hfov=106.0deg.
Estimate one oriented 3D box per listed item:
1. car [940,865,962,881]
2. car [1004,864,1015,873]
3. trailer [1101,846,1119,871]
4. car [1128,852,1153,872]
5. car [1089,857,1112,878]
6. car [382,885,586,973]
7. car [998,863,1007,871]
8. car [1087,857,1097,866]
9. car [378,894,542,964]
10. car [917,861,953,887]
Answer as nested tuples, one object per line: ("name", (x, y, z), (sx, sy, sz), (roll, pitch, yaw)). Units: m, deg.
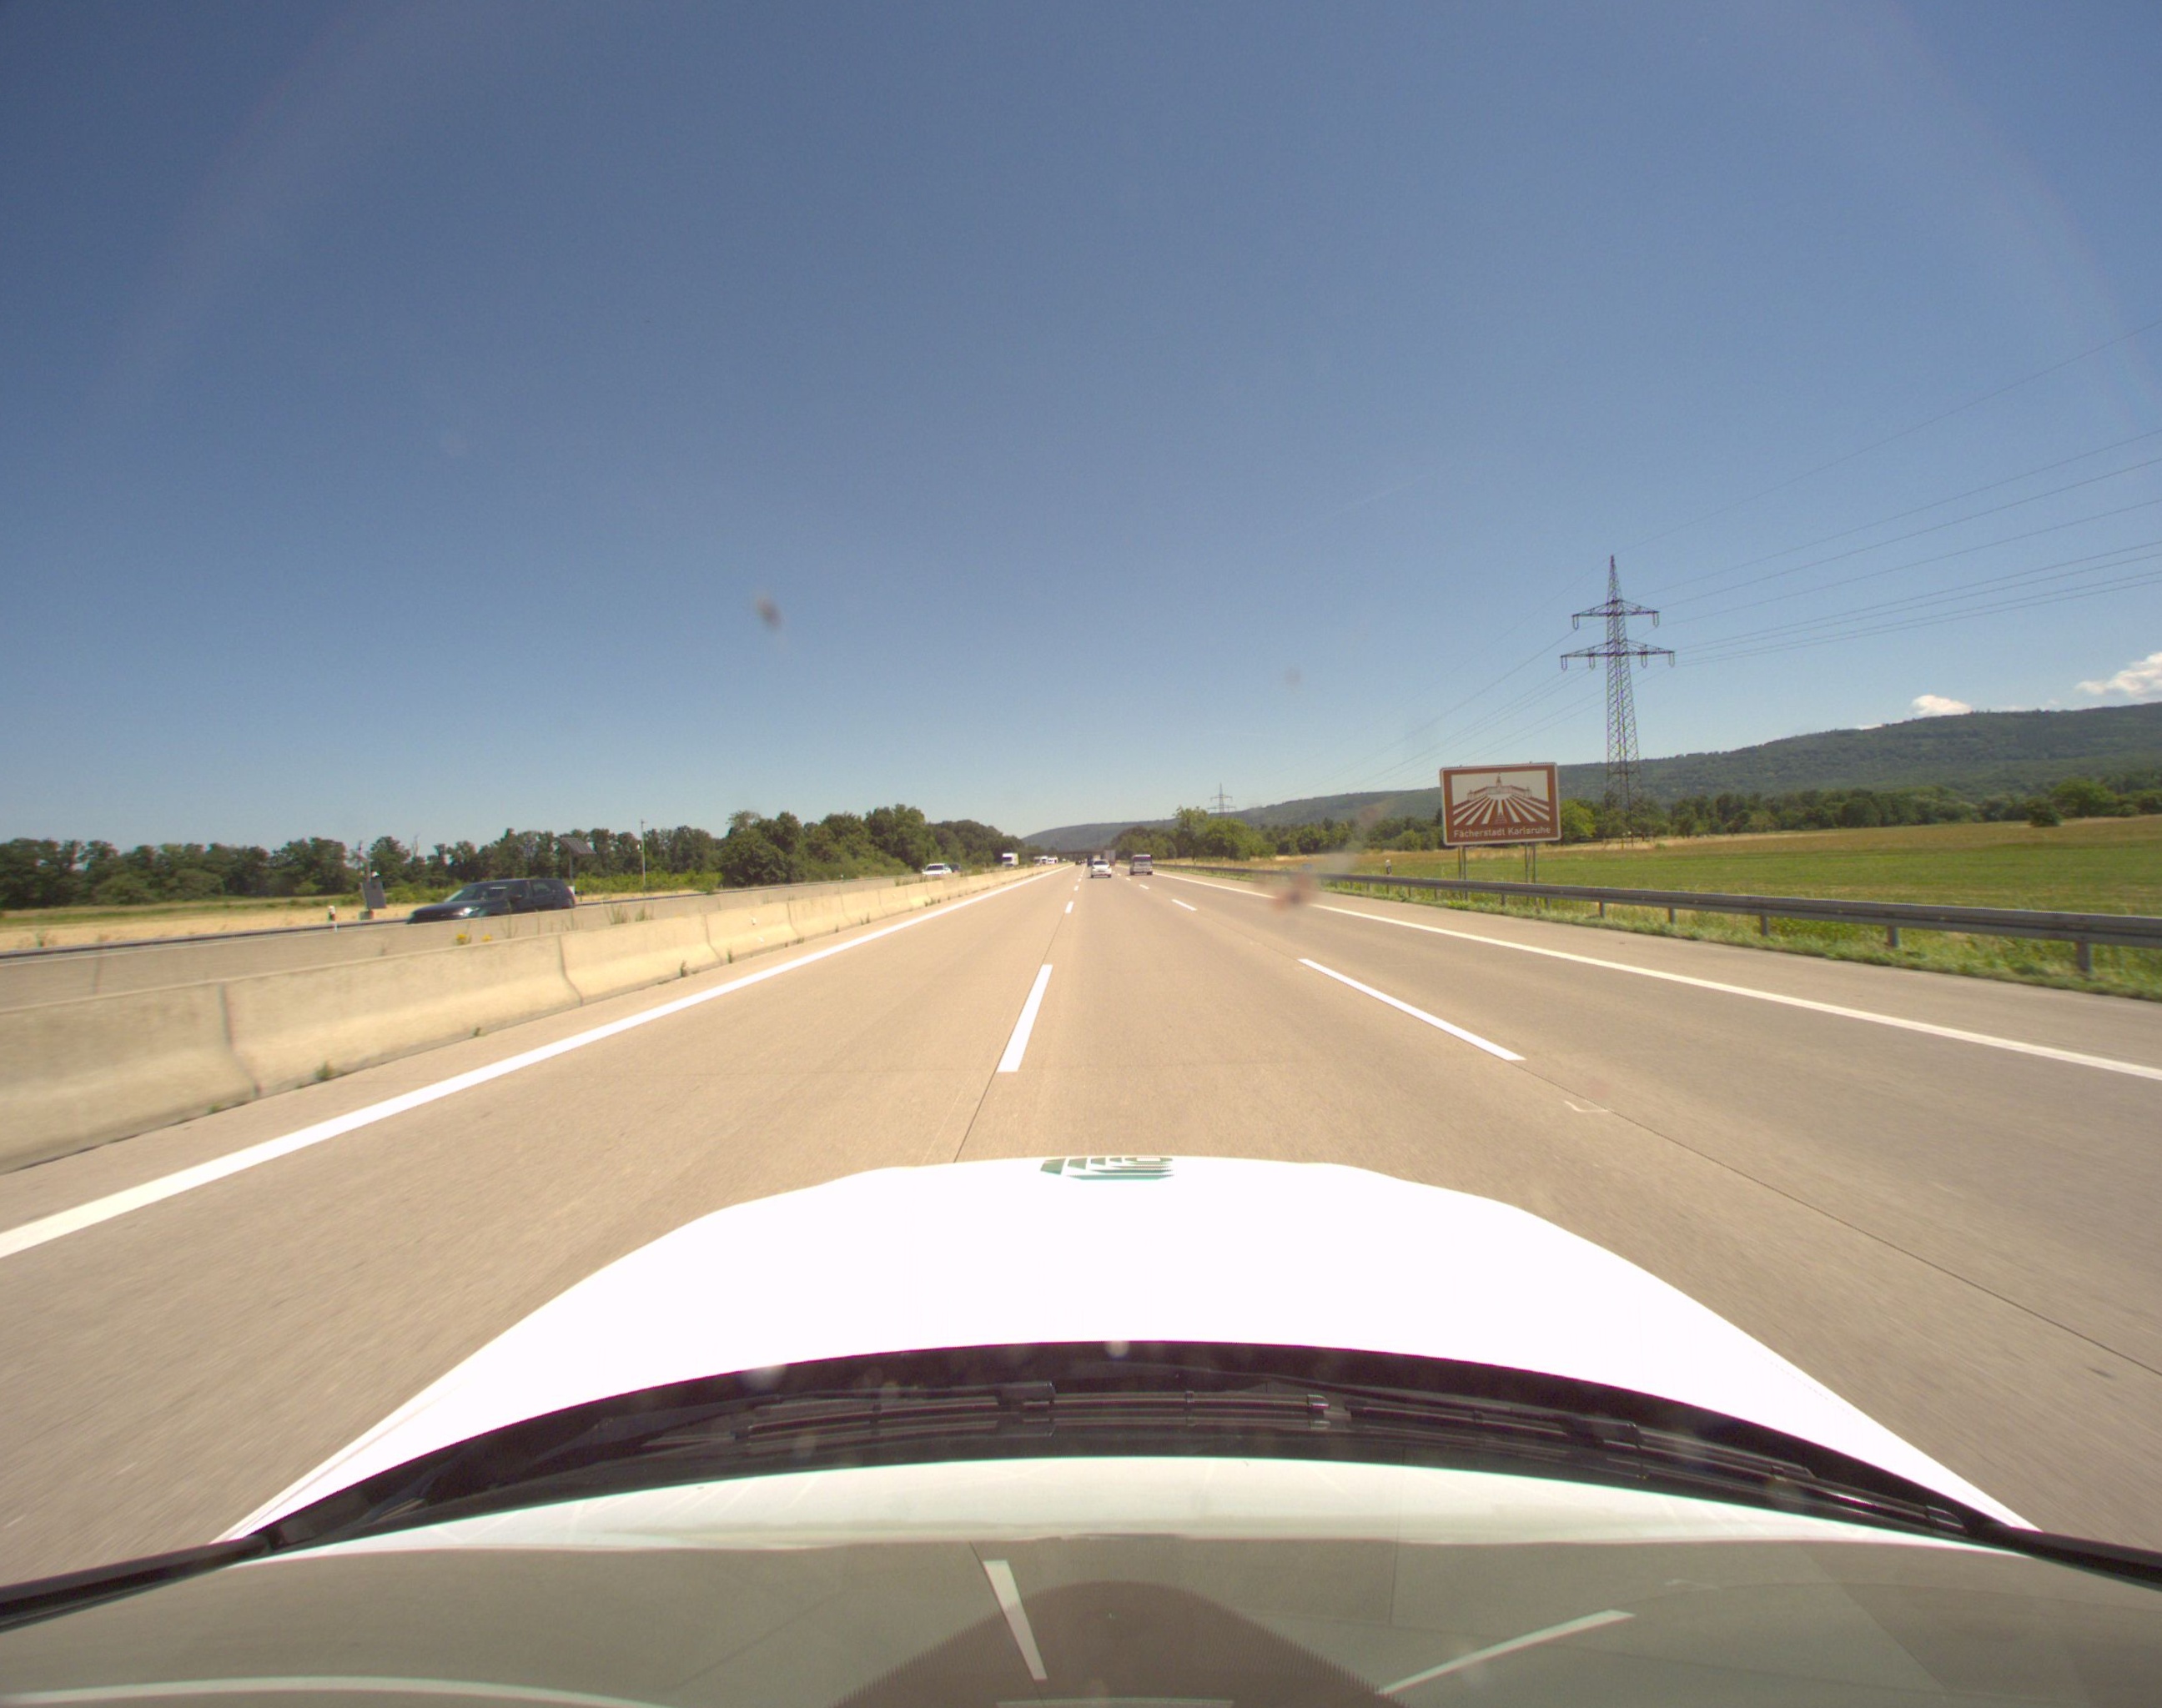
("car", (-15.399, 2.226, 96.913), (1.988, 1.838, 4.812), (-1, 0, -2))
("car", (-14.334, 2.898, 164.087), (1.988, 1.849, 3.998), (1, 0, -1))
("trailer", (7.100, 1.047, 200.265), (3.710, 5.811, 12.155), (-1, 0, -1))
("car", (5.584, 0.763, 76.839), (1.987, 1.849, 3.999), (-1, 0, 0))
("car", (1.631, 1.128, 69.240), (1.814, 1.662, 3.999), (-2, 0, 0))
("car", (-15.442, 1.860, 21.442), (1.986, 1.915, 4.404), (-1, 0, 2))
("car", (-19.013, 3.099, 197.794), (1.988, 1.849, 3.998), (1, 0, -1))
("car", (2.465, 1.577, 177.660), (1.988, 1.849, 3.998), (1, 0, -1))
("car", (-19.222, 2.263, 25.469), (1.986, 1.783, 4.001), (-1, 0, 2))
("car", (-11.212, 1.496, 62.846), (1.899, 1.860, 4.002), (-1, 0, 2))
